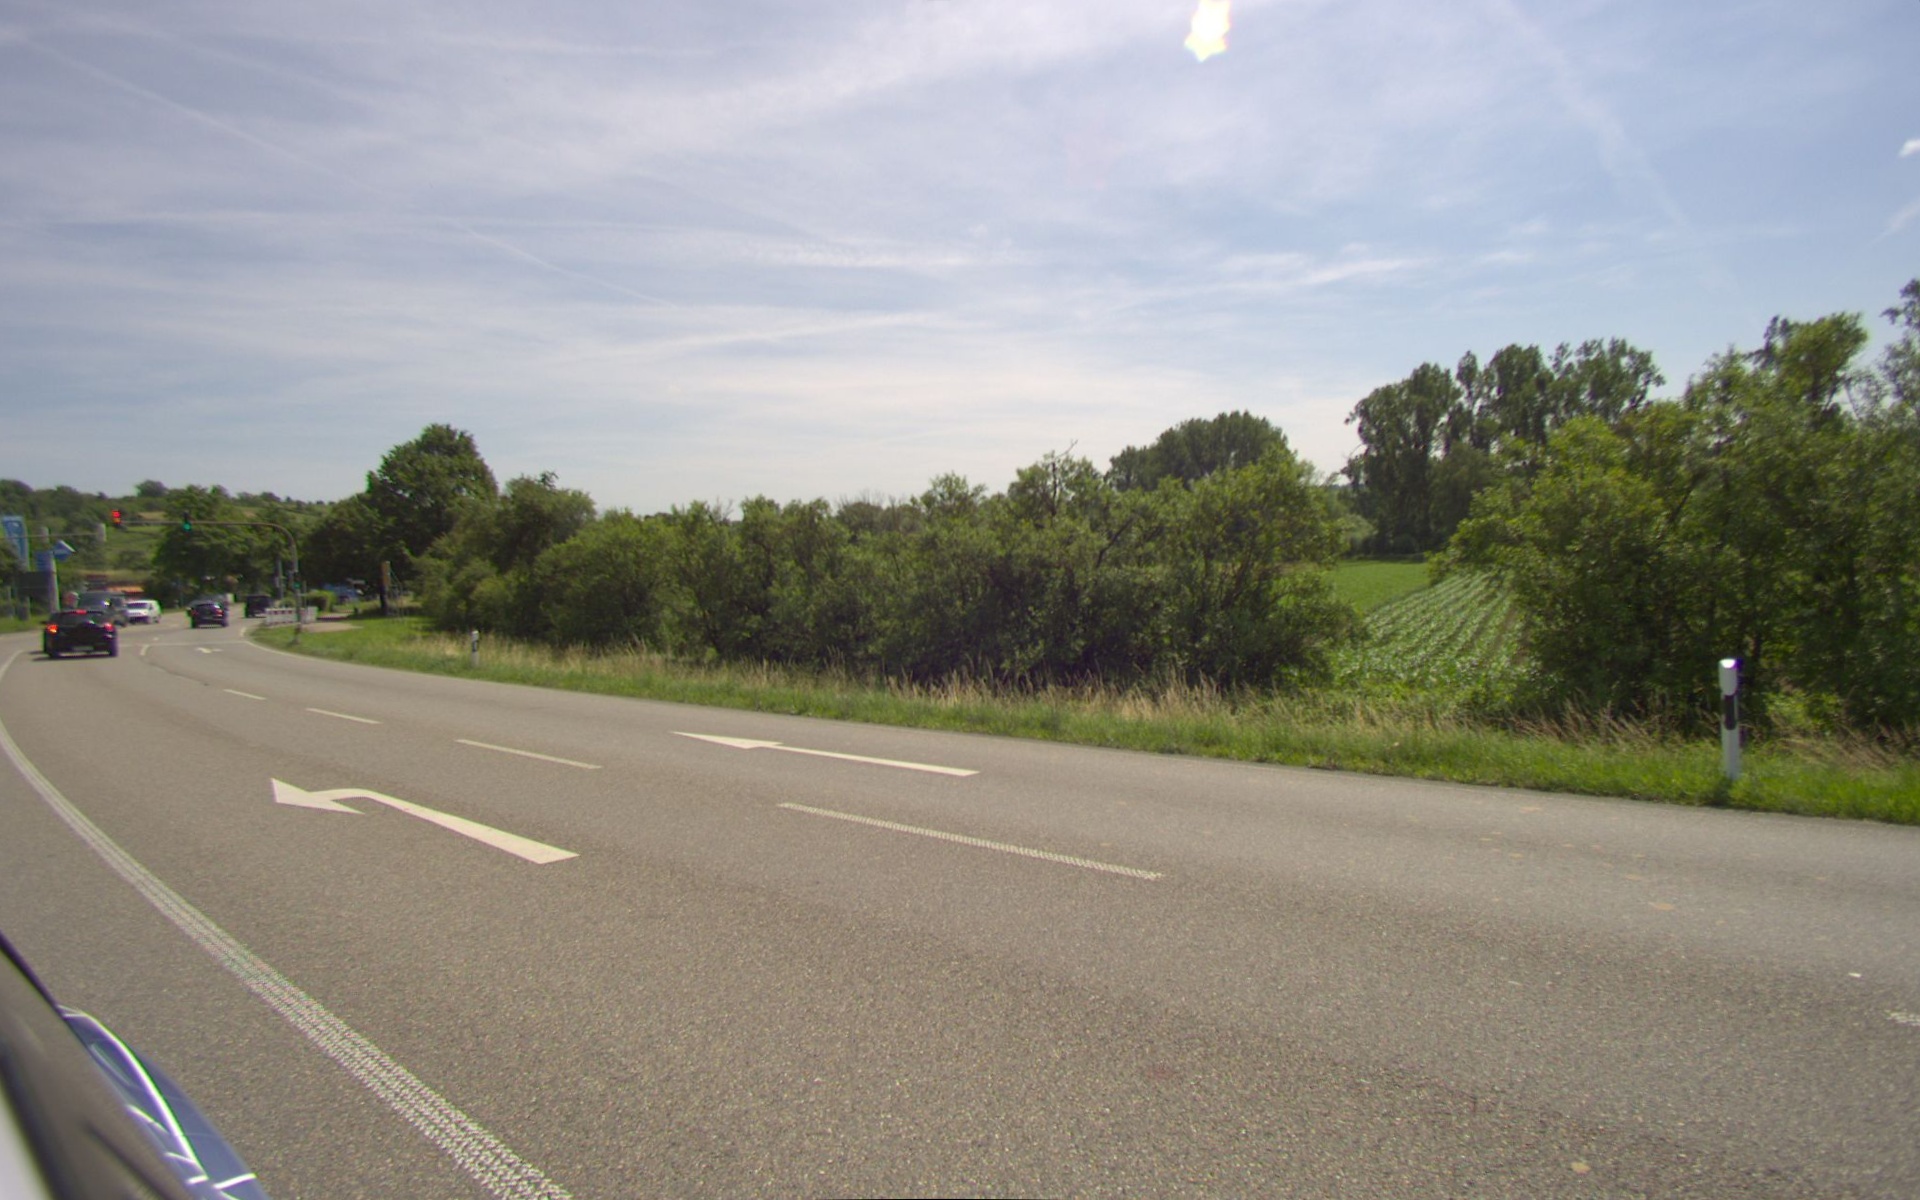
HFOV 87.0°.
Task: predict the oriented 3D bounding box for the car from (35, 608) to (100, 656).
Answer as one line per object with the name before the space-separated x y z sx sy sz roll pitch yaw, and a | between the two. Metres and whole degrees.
car | -34.415 1.195 39.090 1.749 1.671 4.007 -2 1 -40

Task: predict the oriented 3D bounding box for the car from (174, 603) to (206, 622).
car | -73.958 1.188 97.266 1.779 1.745 4.013 -3 1 -28

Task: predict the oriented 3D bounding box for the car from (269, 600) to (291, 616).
car | -69.355 0.810 103.261 1.747 1.507 4.011 -1 1 -32

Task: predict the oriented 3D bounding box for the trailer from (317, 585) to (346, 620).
trailer | -78.761 0.294 126.685 2.532 4.060 13.630 -2 1 -34

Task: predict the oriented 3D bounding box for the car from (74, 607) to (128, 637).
car | -57.702 1.435 68.056 1.779 1.745 4.014 -3 3 -27

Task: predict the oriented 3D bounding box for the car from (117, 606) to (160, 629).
car | -63.259 1.320 77.986 1.754 1.504 4.171 -2 3 -28

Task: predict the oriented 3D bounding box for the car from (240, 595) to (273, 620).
car | -61.986 0.617 89.212 1.967 2.021 5.180 -2 2 -31

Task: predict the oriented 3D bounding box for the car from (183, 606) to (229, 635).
car | -49.050 1.286 65.912 1.966 1.708 4.012 -1 1 -30

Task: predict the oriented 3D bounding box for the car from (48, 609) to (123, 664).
car | -29.876 1.189 34.662 1.748 1.671 4.008 -2 1 -39
